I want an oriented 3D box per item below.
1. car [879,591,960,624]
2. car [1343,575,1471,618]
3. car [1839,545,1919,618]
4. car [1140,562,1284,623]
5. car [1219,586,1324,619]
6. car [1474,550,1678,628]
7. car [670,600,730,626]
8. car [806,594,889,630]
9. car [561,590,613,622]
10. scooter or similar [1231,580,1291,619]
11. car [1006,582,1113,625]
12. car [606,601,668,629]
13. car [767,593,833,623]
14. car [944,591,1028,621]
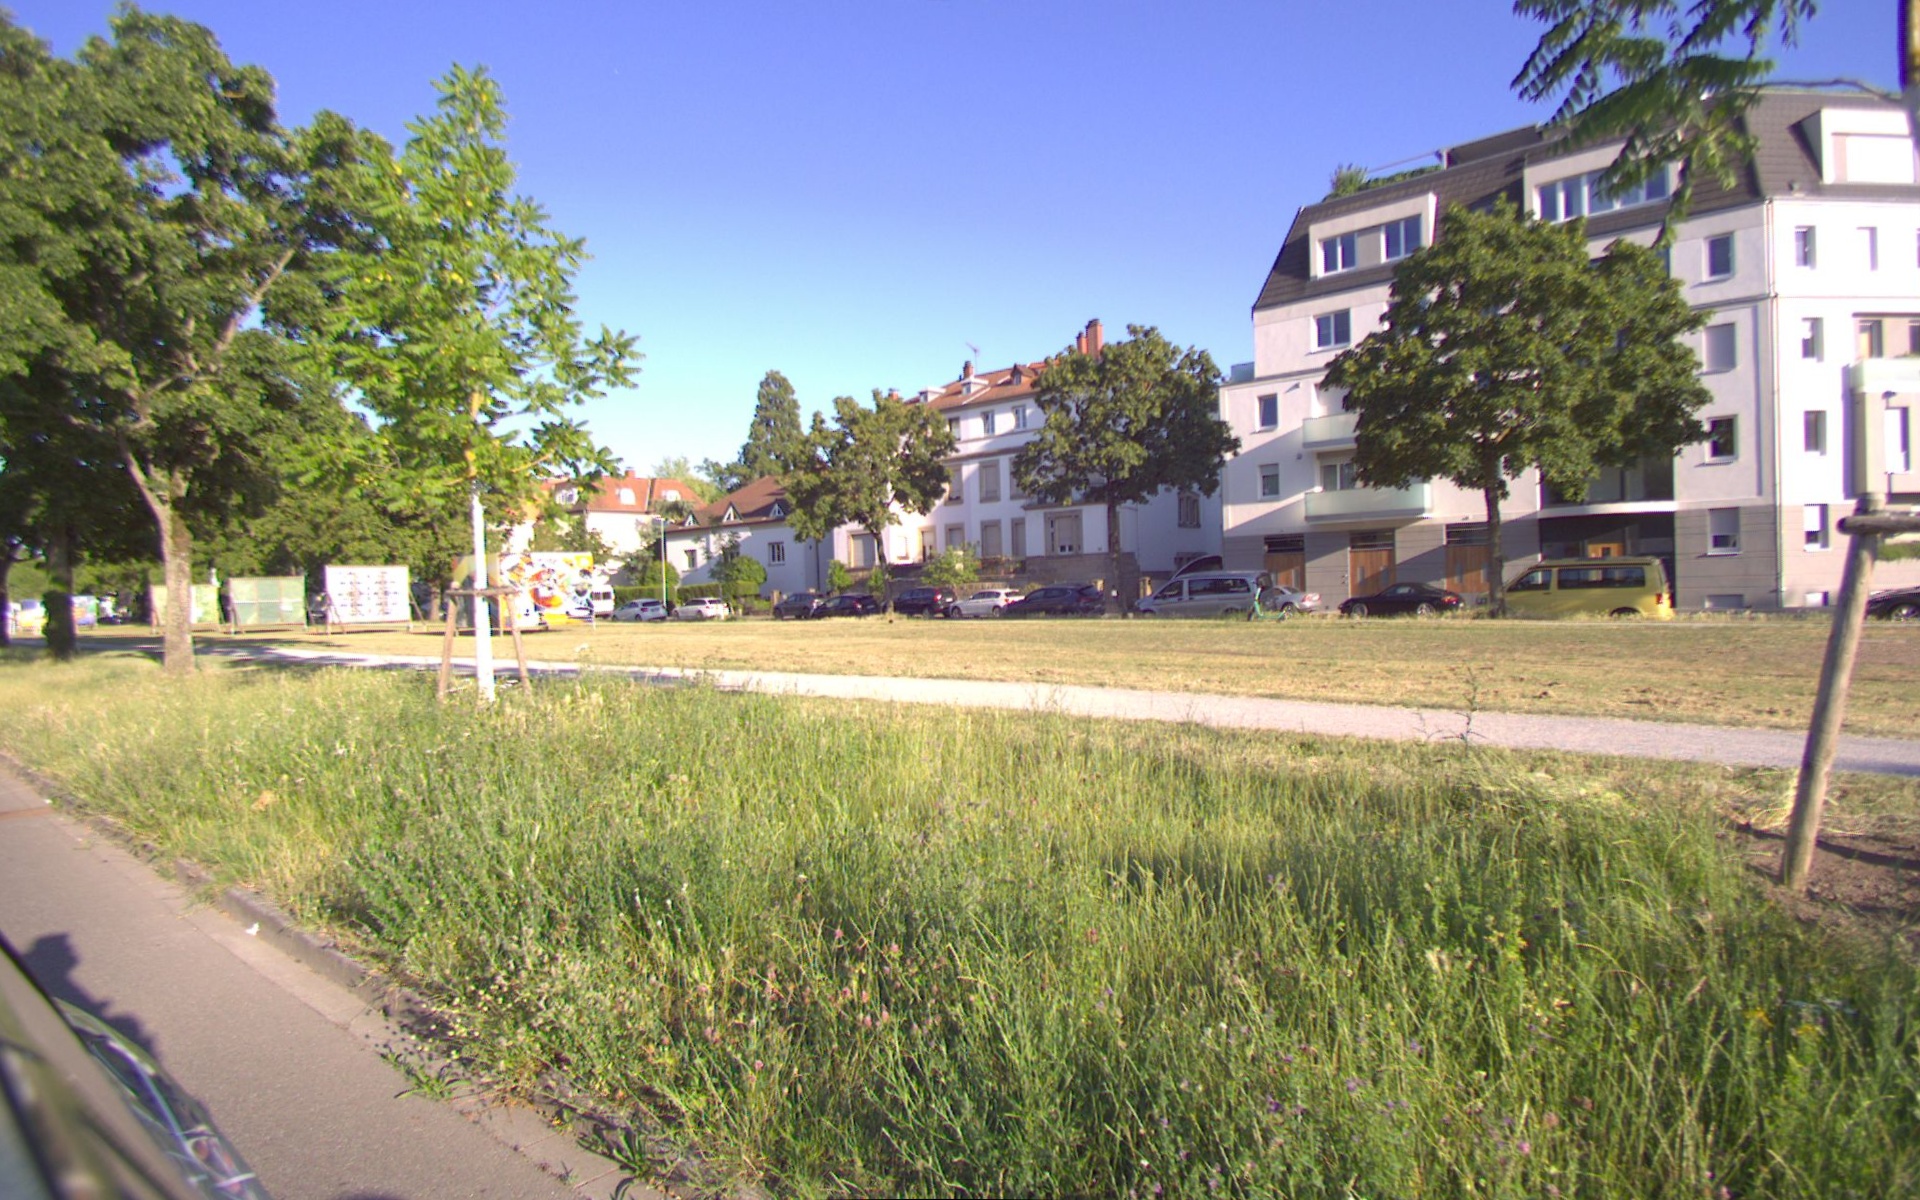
[{"bbox_3d":[-2.151,0.413,53.235,4.160,1.592,1.802,-1,1,41],"label":"car"},{"bbox_3d":[16.460,-0.109,37.396,3.998,1.474,1.655,-1,1,41],"label":"car"},{"bbox_3d":[23.551,-0.464,23.396,4.837,1.681,1.764,-1,1,41],"label":"car"},{"bbox_3d":[8.983,-0.237,36.260,4.571,2.029,2.052,-1,0,40],"label":"car"},{"bbox_3d":[12.448,0.108,40.507,3.724,1.249,1.606,-1,0,37],"label":"car"},{"bbox_3d":[17.413,-0.276,28.721,4.690,2.029,2.006,-1,0,40],"label":"car"},{"bbox_3d":[-16.920,0.848,65.896,3.965,1.592,1.802,-1,1,41],"label":"car"},{"bbox_3d":[-5.429,0.587,48.693,3.834,1.592,1.802,-1,1,41],"label":"car"},{"bbox_3d":[-27.586,0.442,74.801,4.131,2.230,1.972,-1,1,43],"label":"car"},{"bbox_3d":[8.959,0.002,30.141,1.648,1.124,0.447,-1,1,41],"label":"scooter or similar"},{"bbox_3d":[3.908,0.152,40.055,3.829,1.592,1.804,-1,1,37],"label":"car"},{"bbox_3d":[-19.309,0.898,60.464,3.834,1.592,1.802,-1,1,41],"label":"car"},{"bbox_3d":[-9.281,0.474,58.675,3.999,1.674,1.621,-1,1,42],"label":"car"},{"bbox_3d":[1.264,0.303,50.304,4.005,1.457,1.621,-1,0,40],"label":"car"}]
